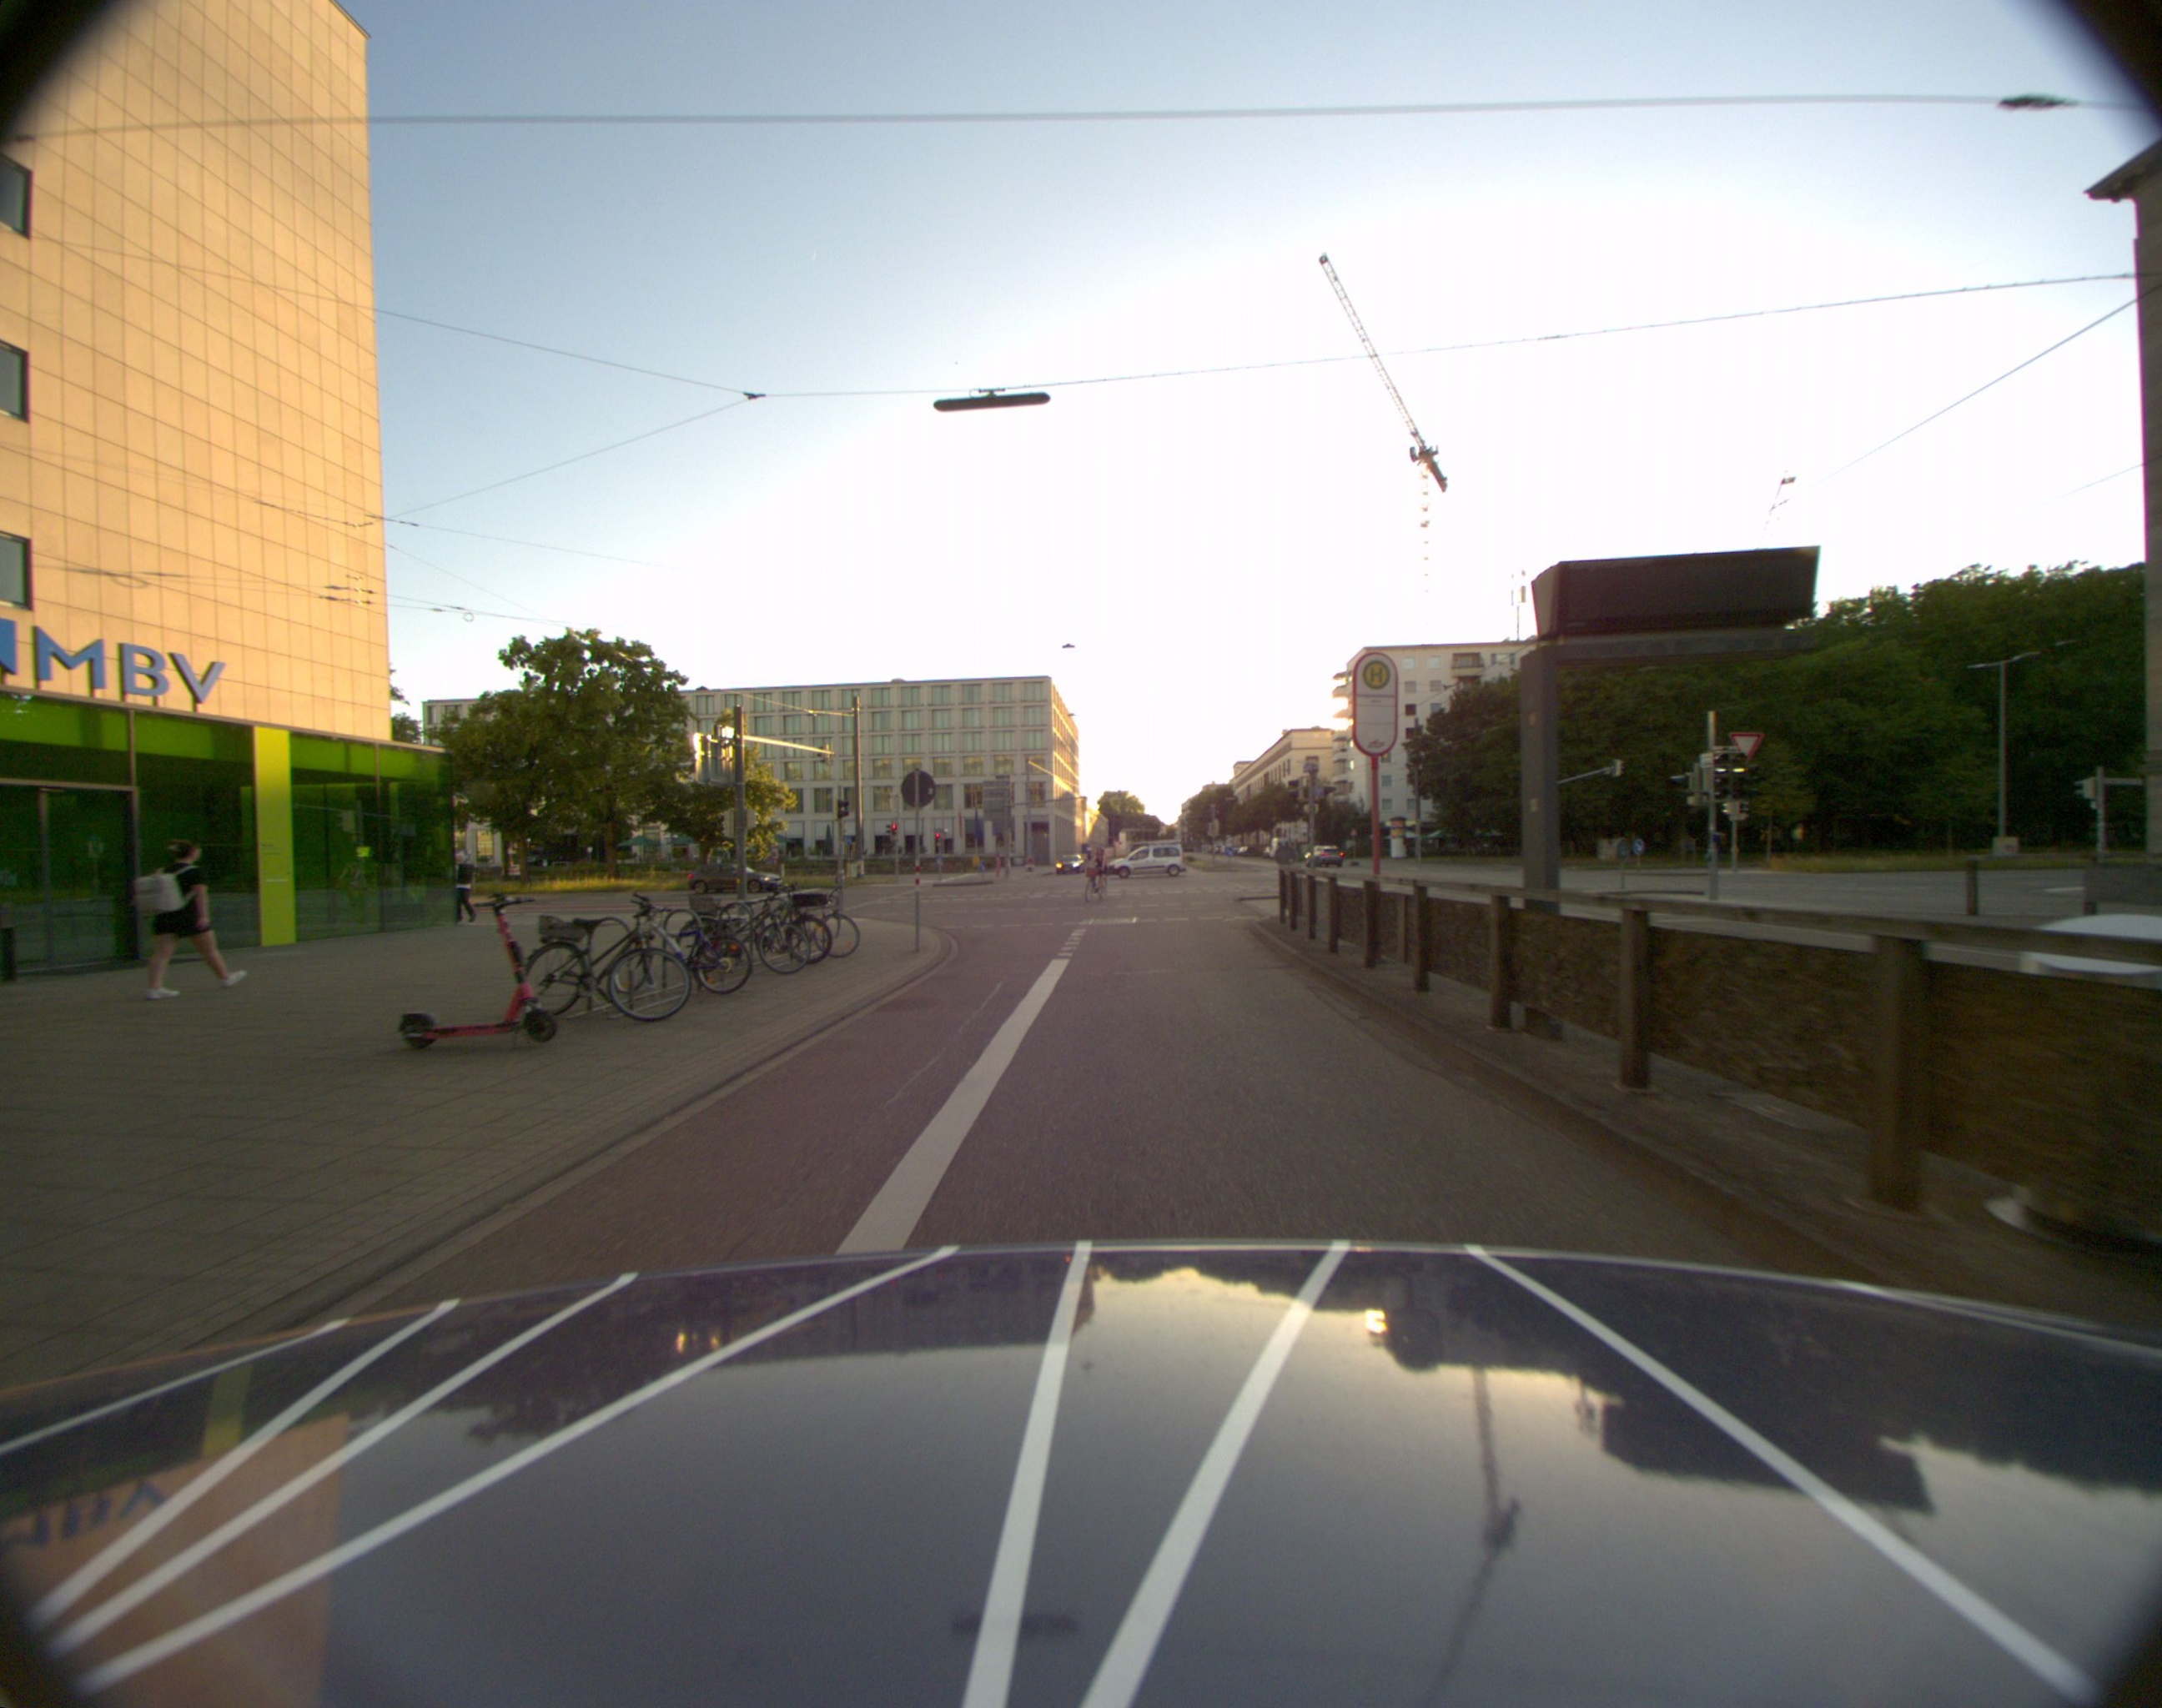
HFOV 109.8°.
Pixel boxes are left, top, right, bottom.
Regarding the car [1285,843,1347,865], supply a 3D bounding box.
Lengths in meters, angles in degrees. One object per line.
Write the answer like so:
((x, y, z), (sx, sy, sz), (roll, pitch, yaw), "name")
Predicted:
((18.227, -0.016, 59.094), (1.890, 1.654, 4.334), (-2, 1, -35), "car")

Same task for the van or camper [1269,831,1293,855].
((23.981, -1.308, 91.274), (2.109, 2.665, 4.714), (-2, -1, 7), "van or camper")

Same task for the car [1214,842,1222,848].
((31.010, -2.048, 171.762), (1.721, 1.478, 3.812), (-2, 0, 9), "car")

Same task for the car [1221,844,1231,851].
((29.845, -1.272, 156.340), (1.721, 1.422, 3.812), (-1, 1, 8), "car")

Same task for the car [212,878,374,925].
((-26.797, 1.596, 25.915), (3.864, 1.403, 1.698), (-1, 2, 5), "car")

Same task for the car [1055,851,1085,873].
((-0.834, 0.584, 60.190), (1.815, 1.514, 4.811), (-3, 0, 5), "car")

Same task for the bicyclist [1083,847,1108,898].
((0.474, 0.586, 24.593), (0.609, 1.626, 0.598), (-1, 1, 19), "bicyclist")

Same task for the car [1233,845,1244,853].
((28.456, -0.971, 137.035), (1.721, 1.422, 3.812), (-1, 1, 8), "car")

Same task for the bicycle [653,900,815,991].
((-4.472, 1.171, 9.857), (1.758, 1.068, 0.744), (-1, 1, 7), "bicycle")

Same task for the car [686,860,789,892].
((-16.424, 1.058, 36.457), (4.168, 1.412, 1.699), (-1, 1, 7), "car")

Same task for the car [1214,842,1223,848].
((31.959, -2.094, 176.684), (1.721, 1.422, 3.812), (-1, 1, 8), "car")

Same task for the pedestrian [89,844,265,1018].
((-9.760, 0.784, 8.261), (0.708, 1.758, 0.988), (-1, 1, -10), "pedestrian")

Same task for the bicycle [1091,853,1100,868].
((1.111, 0.472, 57.587), (0.540, 1.045, 1.761), (-1, 1, 6), "bicycle")

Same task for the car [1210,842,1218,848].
((33.479, -2.321, 191.166), (1.721, 1.422, 3.812), (-1, 1, 8), "car")

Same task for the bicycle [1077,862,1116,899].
((0.535, 0.850, 24.741), (0.608, 1.108, 2.089), (-1, 1, 20), "bicycle")

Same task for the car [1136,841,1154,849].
((13.841, -1.888, 163.909), (3.805, 1.639, 1.864), (-1, 1, 5), "car")

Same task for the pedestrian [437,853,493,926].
((-15.454, 0.877, 19.077), (0.708, 1.758, 0.735), (-1, 1, 6), "pedestrian")

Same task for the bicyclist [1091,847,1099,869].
((1.044, 0.312, 57.384), (0.541, 1.626, 0.597), (-1, 1, 5), "bicyclist")

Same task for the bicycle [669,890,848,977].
((-4.523, 1.095, 10.713), (2.234, 1.125, 0.744), (0, 1, 7), "bicycle")

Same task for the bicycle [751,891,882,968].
((-4.068, 1.119, 11.682), (1.861, 1.068, 0.745), (-1, 1, 23), "bicycle")

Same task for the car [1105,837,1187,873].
((3.623, 0.048, 42.769), (4.460, 1.900, 1.806), (-1, 1, 4), "car")

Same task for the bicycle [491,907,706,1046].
((-4.458, 1.114, 7.088), (1.529, 1.156, 0.744), (-1, 1, 7), "bicycle")

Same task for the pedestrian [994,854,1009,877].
((-5.784, 0.821, 55.324), (0.736, 1.617, 0.727), (0, 1, 37), "pedestrian")

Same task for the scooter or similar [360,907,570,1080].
((-4.806, 1.057, 5.969), (1.202, 1.218, 0.591), (1, 1, 5), "scooter or similar")

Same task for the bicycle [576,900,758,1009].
((-4.434, 1.062, 8.206), (1.554, 1.068, 0.744), (-1, 1, 7), "bicycle")
